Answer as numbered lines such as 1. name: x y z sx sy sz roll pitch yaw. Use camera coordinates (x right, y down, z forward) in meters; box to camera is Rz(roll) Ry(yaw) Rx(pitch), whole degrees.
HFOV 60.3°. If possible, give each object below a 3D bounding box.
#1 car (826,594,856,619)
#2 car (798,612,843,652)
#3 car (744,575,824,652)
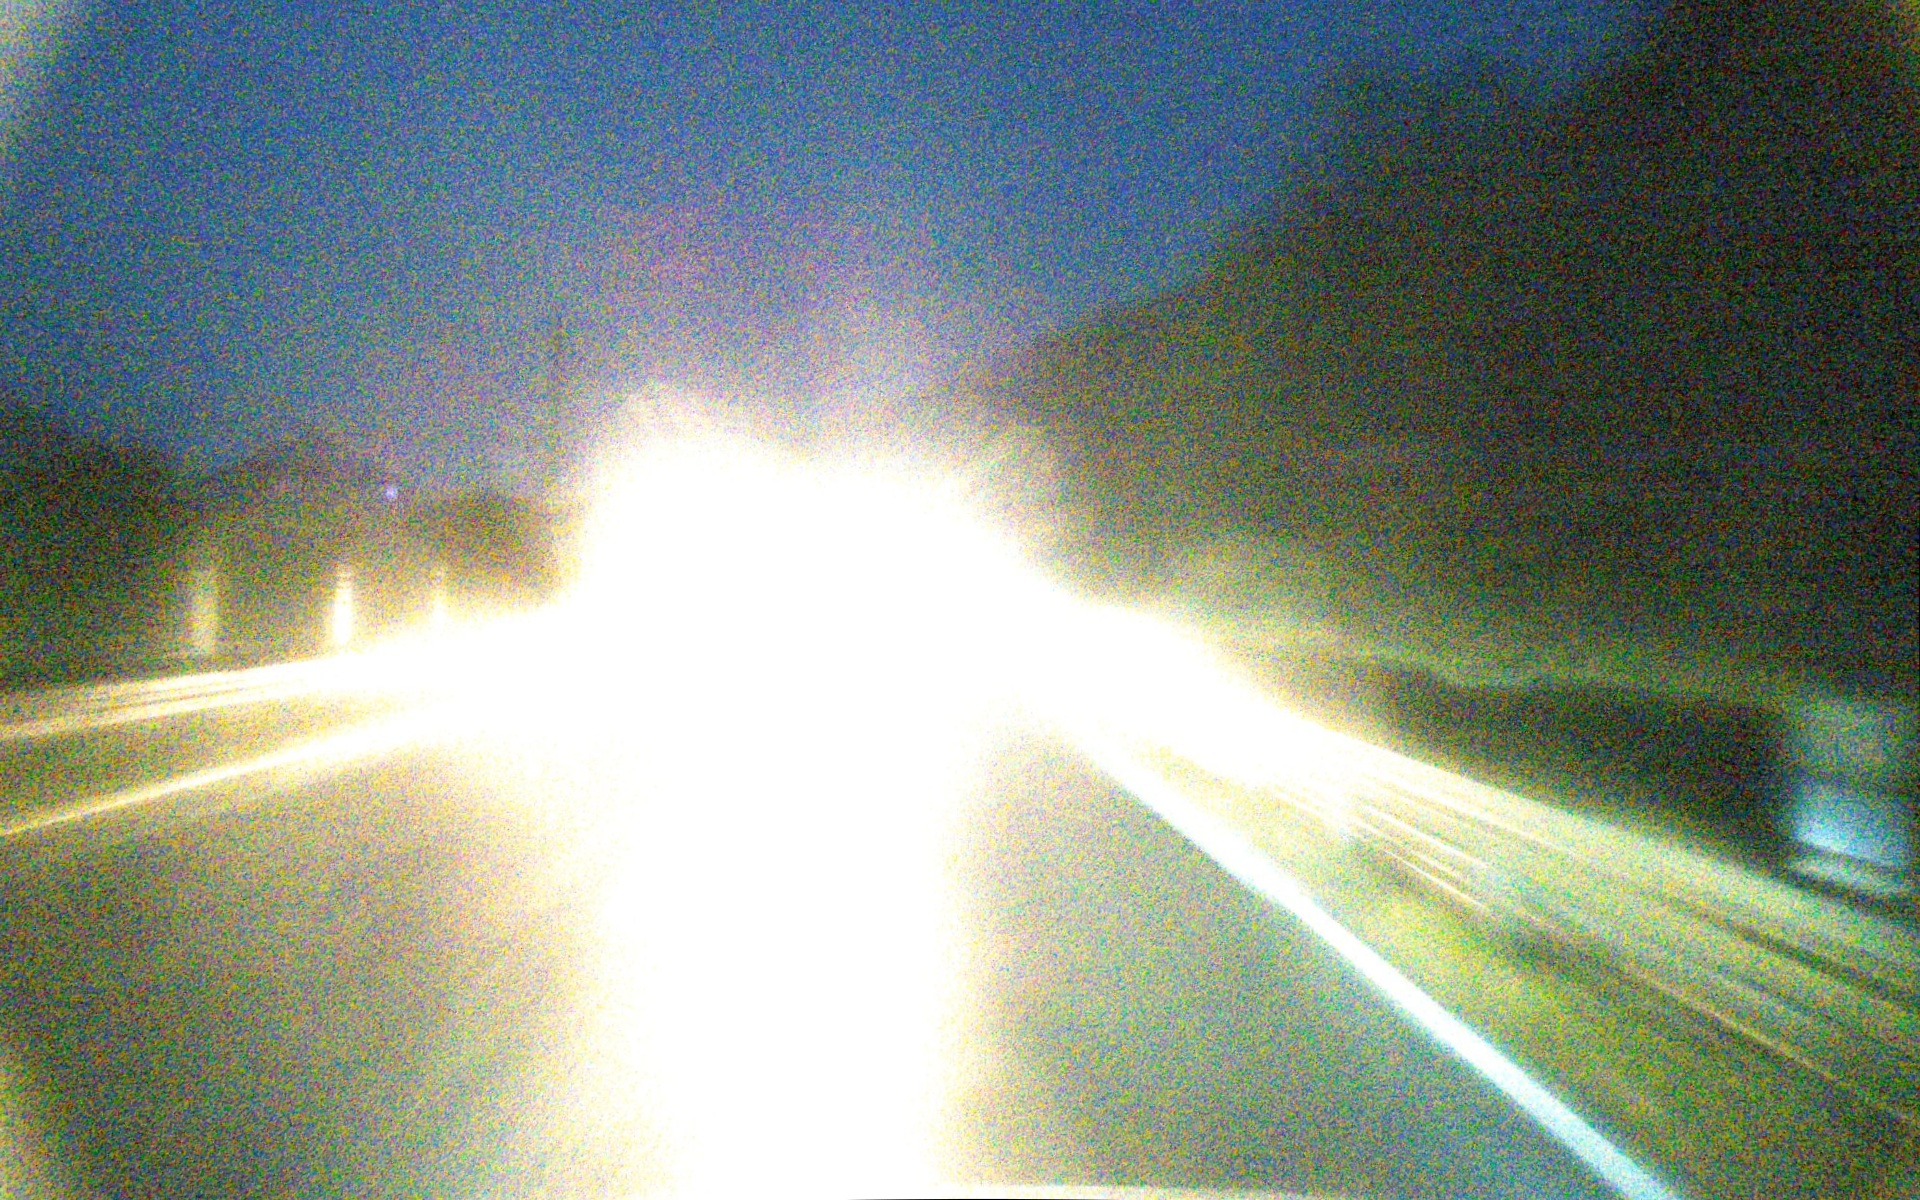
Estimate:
1. car: -6.737 0.366 93.682 1.608 1.383 3.678 1 0 -3
2. car: -5.489 1.225 65.309 1.632 1.481 3.424 1 0 -3
3. car: -4.573 0.337 43.487 1.796 1.903 4.427 1 0 -2
